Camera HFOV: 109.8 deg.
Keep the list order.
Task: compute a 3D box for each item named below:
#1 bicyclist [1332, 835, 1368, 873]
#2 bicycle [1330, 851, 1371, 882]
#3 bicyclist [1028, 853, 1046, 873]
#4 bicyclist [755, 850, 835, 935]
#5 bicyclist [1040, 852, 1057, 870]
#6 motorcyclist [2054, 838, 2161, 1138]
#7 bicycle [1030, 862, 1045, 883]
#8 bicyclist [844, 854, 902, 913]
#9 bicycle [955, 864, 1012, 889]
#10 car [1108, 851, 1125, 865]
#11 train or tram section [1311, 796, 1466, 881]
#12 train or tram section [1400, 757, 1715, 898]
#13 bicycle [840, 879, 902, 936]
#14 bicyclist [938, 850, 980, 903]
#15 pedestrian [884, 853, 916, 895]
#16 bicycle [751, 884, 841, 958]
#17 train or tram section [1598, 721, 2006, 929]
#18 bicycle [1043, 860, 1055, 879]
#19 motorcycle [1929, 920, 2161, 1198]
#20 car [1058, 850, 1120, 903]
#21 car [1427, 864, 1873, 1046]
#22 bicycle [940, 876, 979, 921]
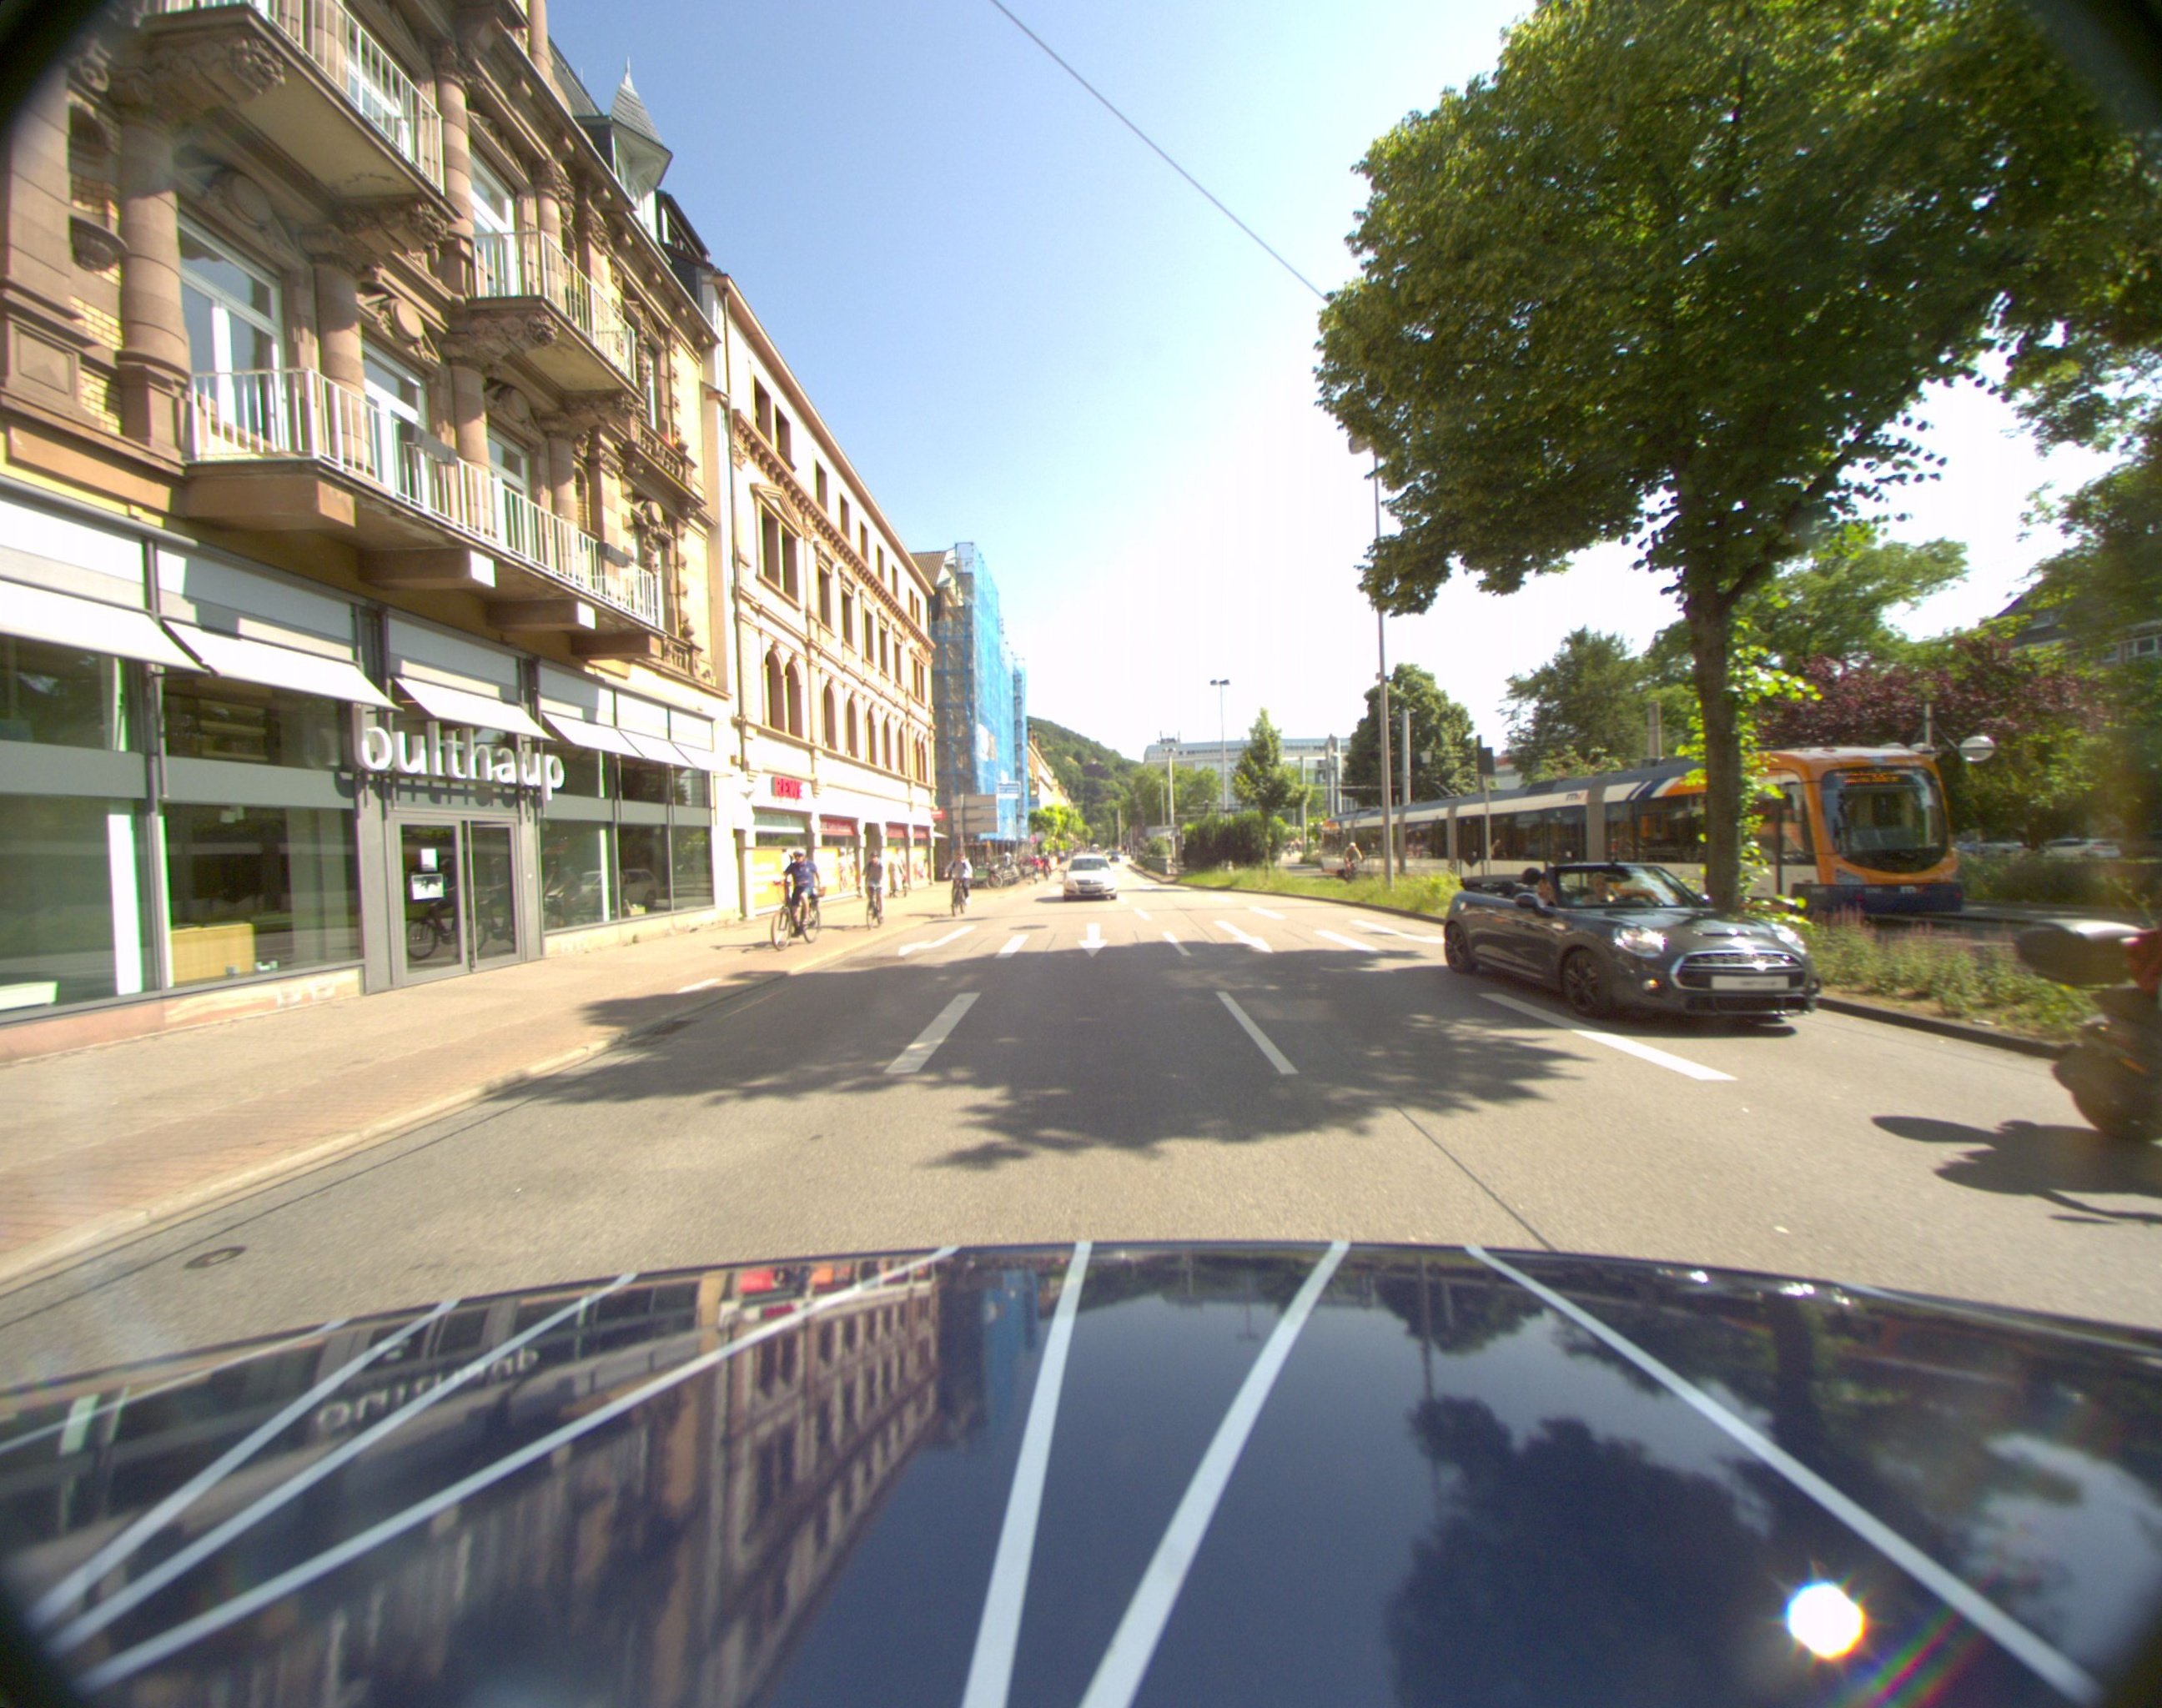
[{"bbox_3d":[10.241,-0.015,28.996,0.912,1.385,1.232,-1,1,0],"label":"bicyclist"},{"bbox_3d":[10.258,0.450,28.996,0.643,1.077,2.496,-2,1,0],"label":"bicycle"},{"bbox_3d":[-2.421,0.503,41.957,0.912,1.062,1.232,-1,1,0],"label":"bicyclist"},{"bbox_3d":[-5.102,0.662,13.640,0.912,1.428,1.232,-1,1,0],"label":"bicyclist"},{"bbox_3d":[-2.004,0.454,47.056,0.912,1.077,1.232,-1,1,0],"label":"bicyclist"},{"bbox_3d":[5.310,0.599,3.297,0.902,1.351,0.993,-1,1,0],"label":"motorcyclist"},{"bbox_3d":[-2.370,1.000,41.905,0.643,1.077,2.496,-1,1,0],"label":"bicycle"},{"bbox_3d":[-4.630,0.640,16.964,0.912,1.227,1.232,-1,1,0],"label":"bicyclist"},{"bbox_3d":[-4.479,1.015,35.013,2.493,1.077,0.644,-1,1,5],"label":"bicycle"},{"bbox_3d":[4.361,0.476,93.888,1.998,1.547,4.497,-1,1,0],"label":"car"},{"bbox_3d":[14.423,-0.680,37.151,2.766,3.384,12.411,-1,1,1],"label":"train or tram section"},{"bbox_3d":[14.200,-0.700,24.699,2.766,3.384,12.412,-1,1,2],"label":"train or tram section"},{"bbox_3d":[-4.646,1.156,17.009,0.643,1.077,2.496,-1,1,0],"label":"bicycle"},{"bbox_3d":[-3.349,0.600,20.910,0.912,1.385,1.232,-1,1,0],"label":"bicyclist"},{"bbox_3d":[-6.916,0.769,29.133,0.912,1.591,1.233,-1,-1,0],"label":"pedestrian"},{"bbox_3d":[-5.070,1.147,13.708,0.643,1.077,2.496,-1,1,0],"label":"bicycle"},{"bbox_3d":[13.955,-0.505,15.527,2.767,3.384,5.886,-1,1,0],"label":"train or tram section"},{"bbox_3d":[-1.967,0.959,47.110,0.643,1.077,2.496,-1,1,0],"label":"bicycle"},{"bbox_3d":[5.347,0.976,3.217,0.902,1.156,2.353,-1,1,0],"label":"motorcycle"},{"bbox_3d":[0.269,0.680,25.740,1.802,1.492,4.497,-4,1,0],"label":"car"},{"bbox_3d":[5.261,0.806,7.798,1.637,1.301,3.914,1,1,0],"label":"car"},{"bbox_3d":[-3.306,1.186,20.924,0.643,1.077,2.496,-1,1,0],"label":"bicycle"}]
